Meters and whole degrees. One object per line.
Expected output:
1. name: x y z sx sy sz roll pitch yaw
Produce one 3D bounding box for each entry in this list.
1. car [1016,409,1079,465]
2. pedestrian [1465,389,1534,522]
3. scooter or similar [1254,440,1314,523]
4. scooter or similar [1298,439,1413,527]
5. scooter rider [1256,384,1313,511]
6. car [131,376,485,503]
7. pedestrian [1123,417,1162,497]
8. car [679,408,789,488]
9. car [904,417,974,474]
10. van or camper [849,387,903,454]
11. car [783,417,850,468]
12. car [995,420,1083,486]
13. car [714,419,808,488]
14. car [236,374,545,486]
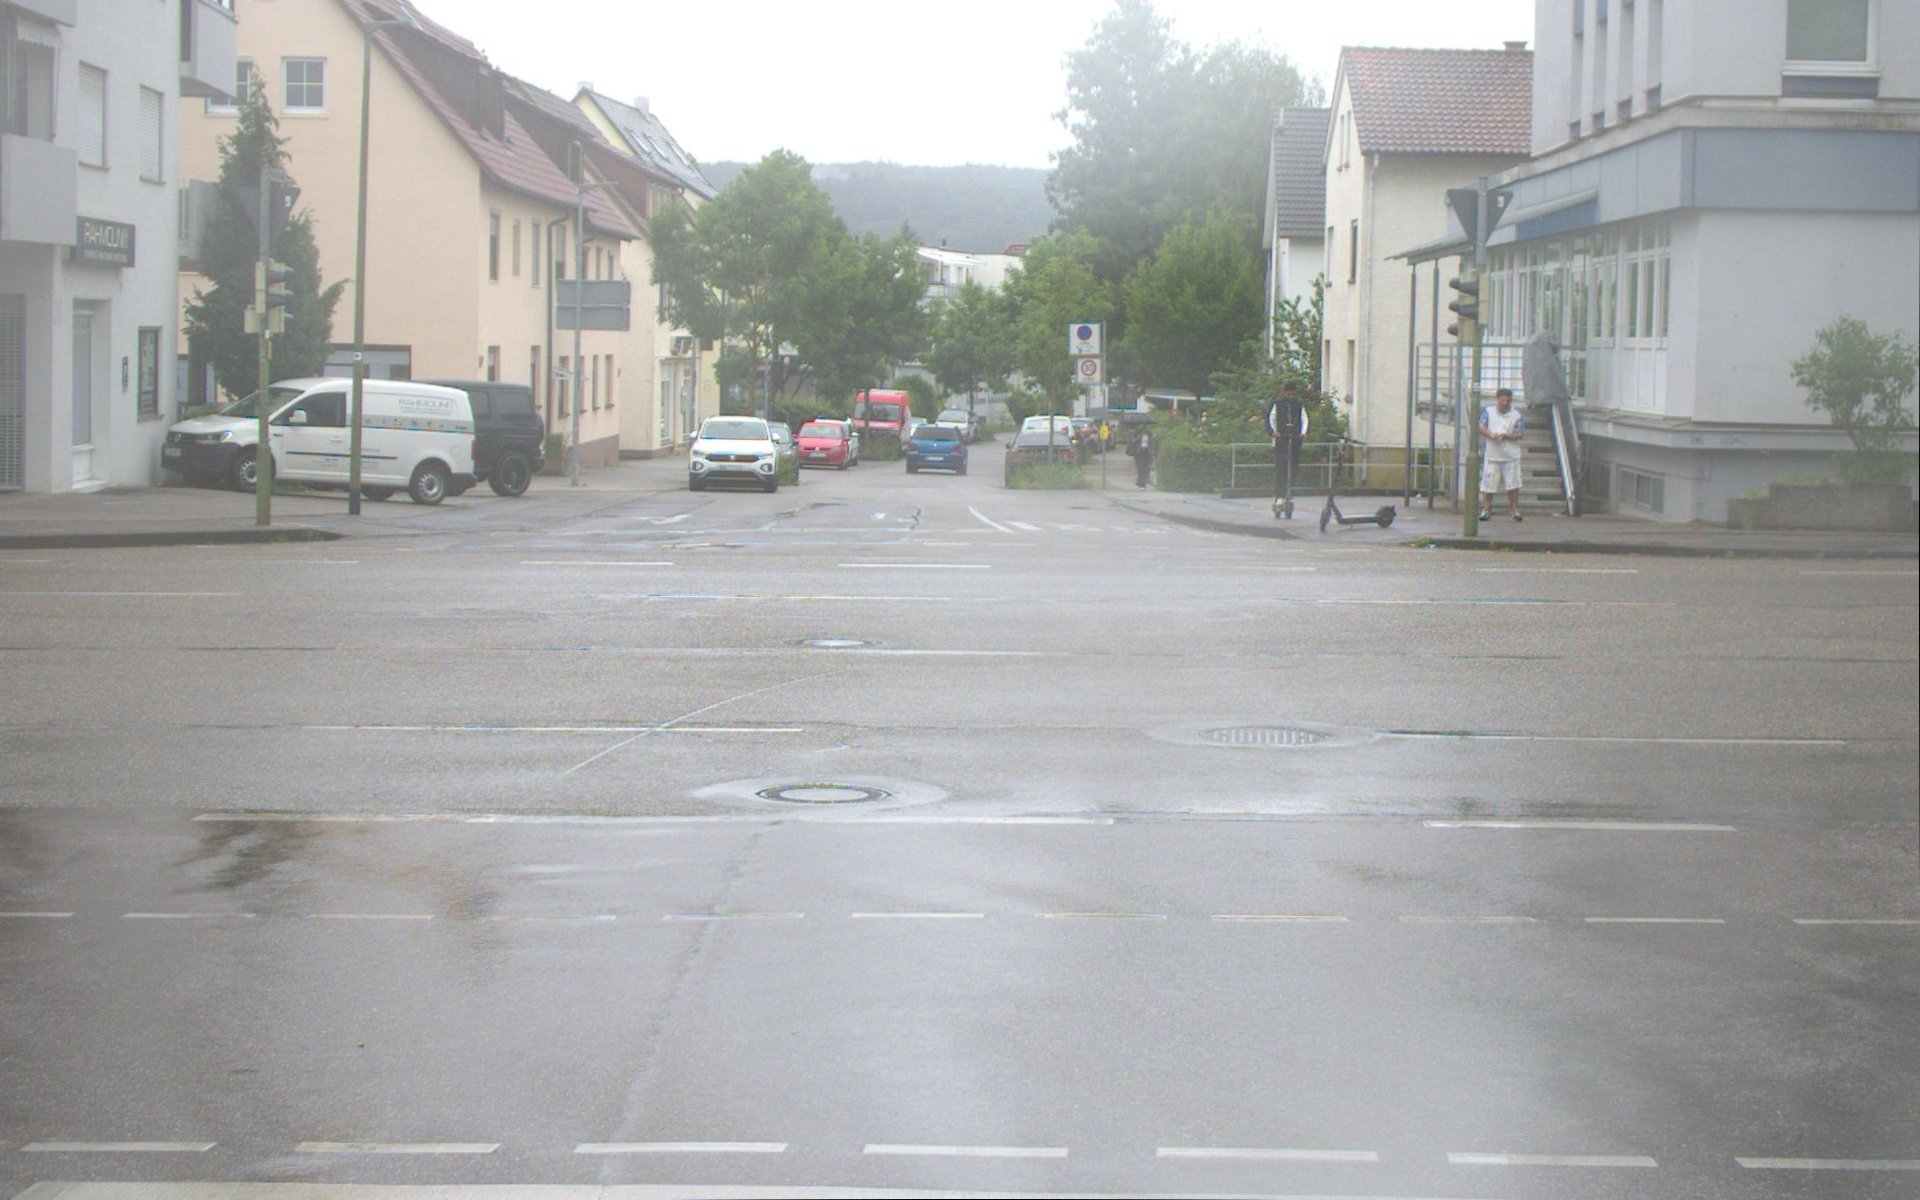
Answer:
1. car: 2.724 -5.096 107.535 1.901 1.739 4.192 0 3 0
2. pedestrian: 6.850 -1.829 43.690 0.647 1.641 0.526 3 2 -6
3. scooter or similar: 4.615 -1.698 49.064 0.757 1.167 1.314 0 3 2
4. scooter or similar: 4.901 -1.462 42.627 1.268 1.077 0.877 0 2 -4
5. scooter rider: 4.624 -2.175 49.046 0.752 1.789 0.673 0 2 0
6. car: -9.743 -2.405 51.596 4.830 1.829 2.000 -2 3 -38
7. pedestrian: 4.265 -3.346 80.498 0.745 1.842 0.526 4 2 -3
8. car: -4.692 -3.186 71.970 1.993 1.620 4.192 0 3 0
9. car: -0.642 -4.668 103.653 1.993 1.678 4.001 0 3 -2
10. van or camper: -3.177 -6.785 130.158 1.901 2.504 4.239 0 3 0
11. car: -4.505 -4.967 108.399 1.901 1.553 4.192 0 3 0
12. car: 1.940 -3.663 85.592 2.146 1.583 4.128 0 3 0
13. car: -4.801 -3.553 83.371 1.993 1.620 4.192 0 3 0
14. car: -9.673 -2.889 58.606 4.830 1.829 2.000 -2 3 -38
